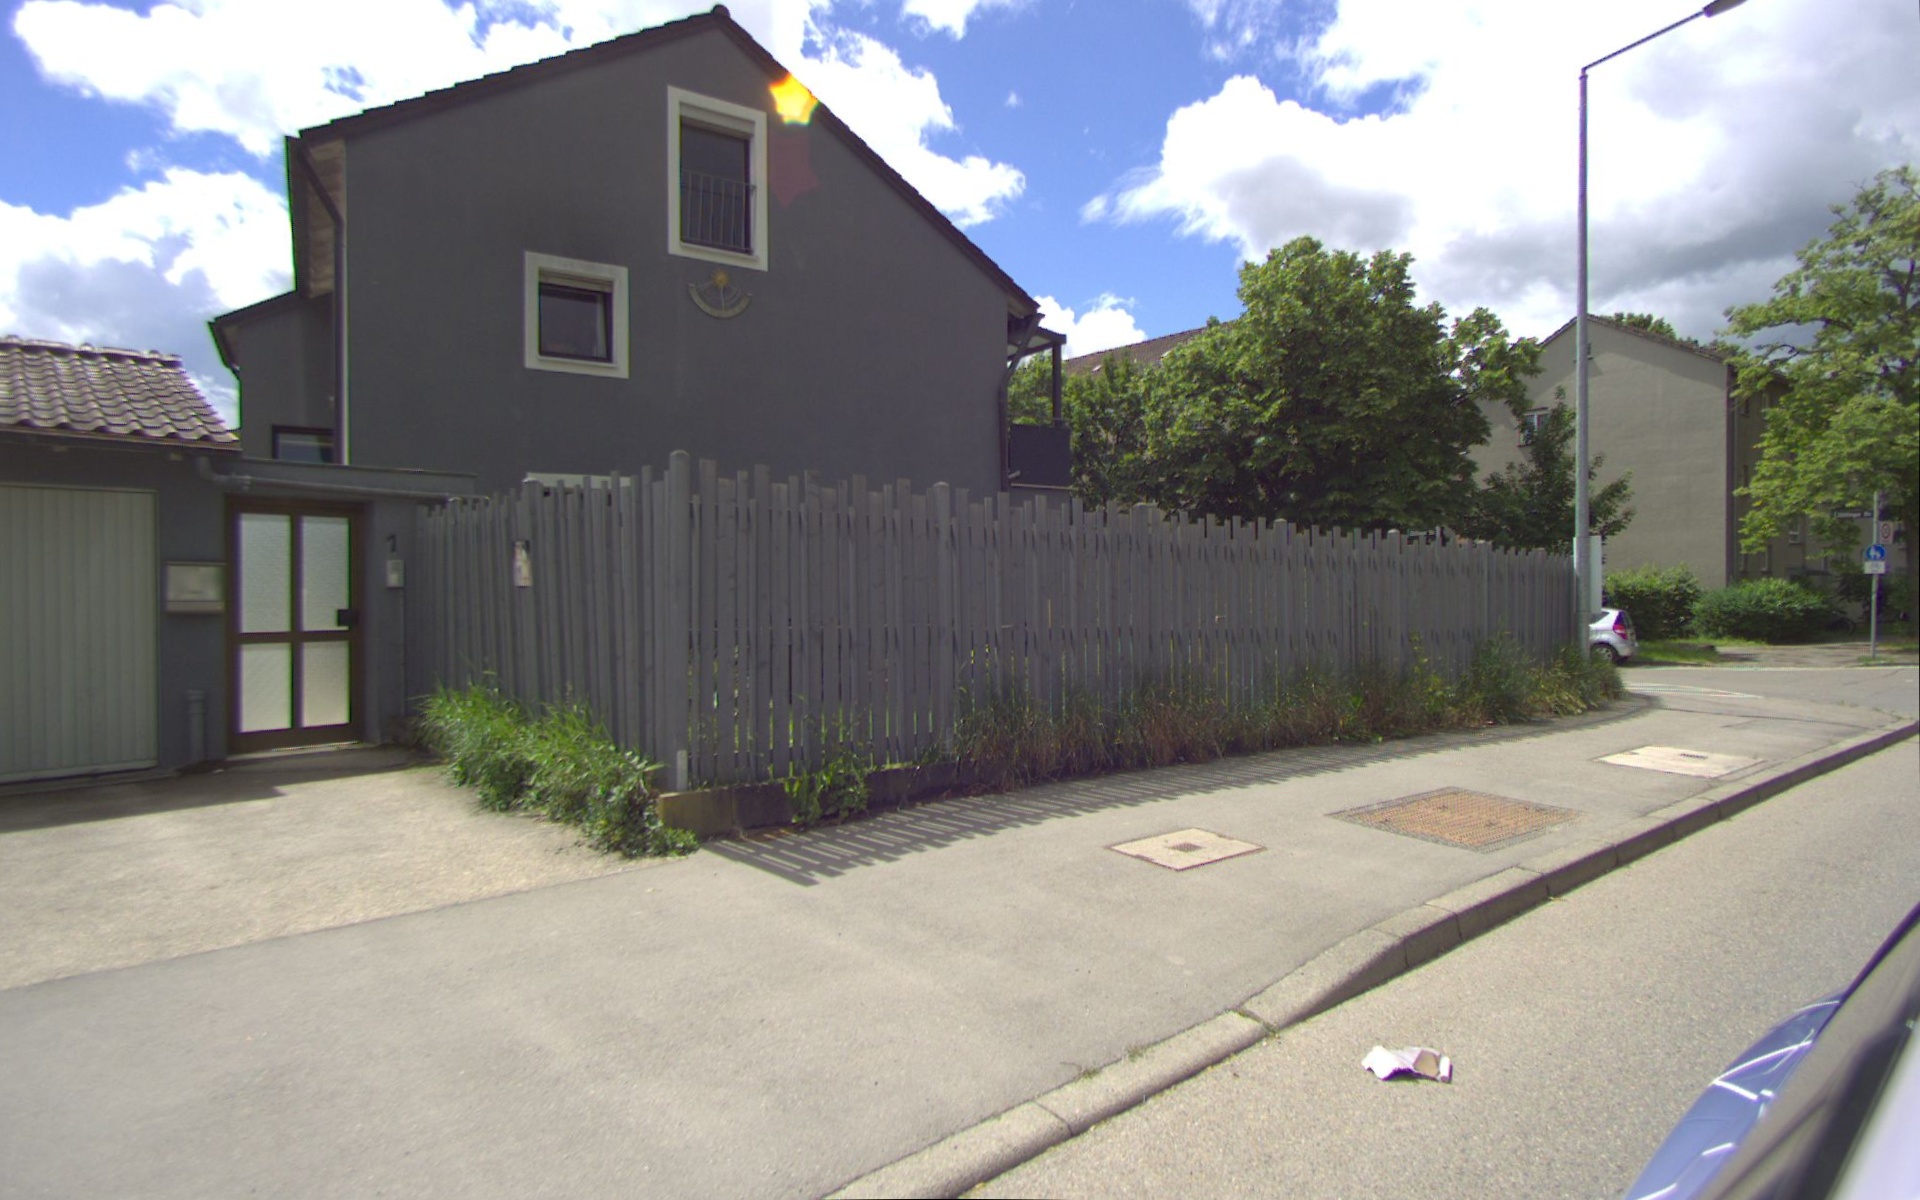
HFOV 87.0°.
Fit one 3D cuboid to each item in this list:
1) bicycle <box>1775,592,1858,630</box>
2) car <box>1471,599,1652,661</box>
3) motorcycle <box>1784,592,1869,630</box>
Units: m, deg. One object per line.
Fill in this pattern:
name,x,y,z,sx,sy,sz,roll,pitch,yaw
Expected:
bicycle,30.394,0.371,35.956,0.667,1.298,2.176,-1,1,-30
car,16.600,0.790,28.028,3.986,1.574,1.908,-1,-1,44
motorcycle,31.068,0.366,36.325,0.667,1.298,2.214,-1,1,-30
